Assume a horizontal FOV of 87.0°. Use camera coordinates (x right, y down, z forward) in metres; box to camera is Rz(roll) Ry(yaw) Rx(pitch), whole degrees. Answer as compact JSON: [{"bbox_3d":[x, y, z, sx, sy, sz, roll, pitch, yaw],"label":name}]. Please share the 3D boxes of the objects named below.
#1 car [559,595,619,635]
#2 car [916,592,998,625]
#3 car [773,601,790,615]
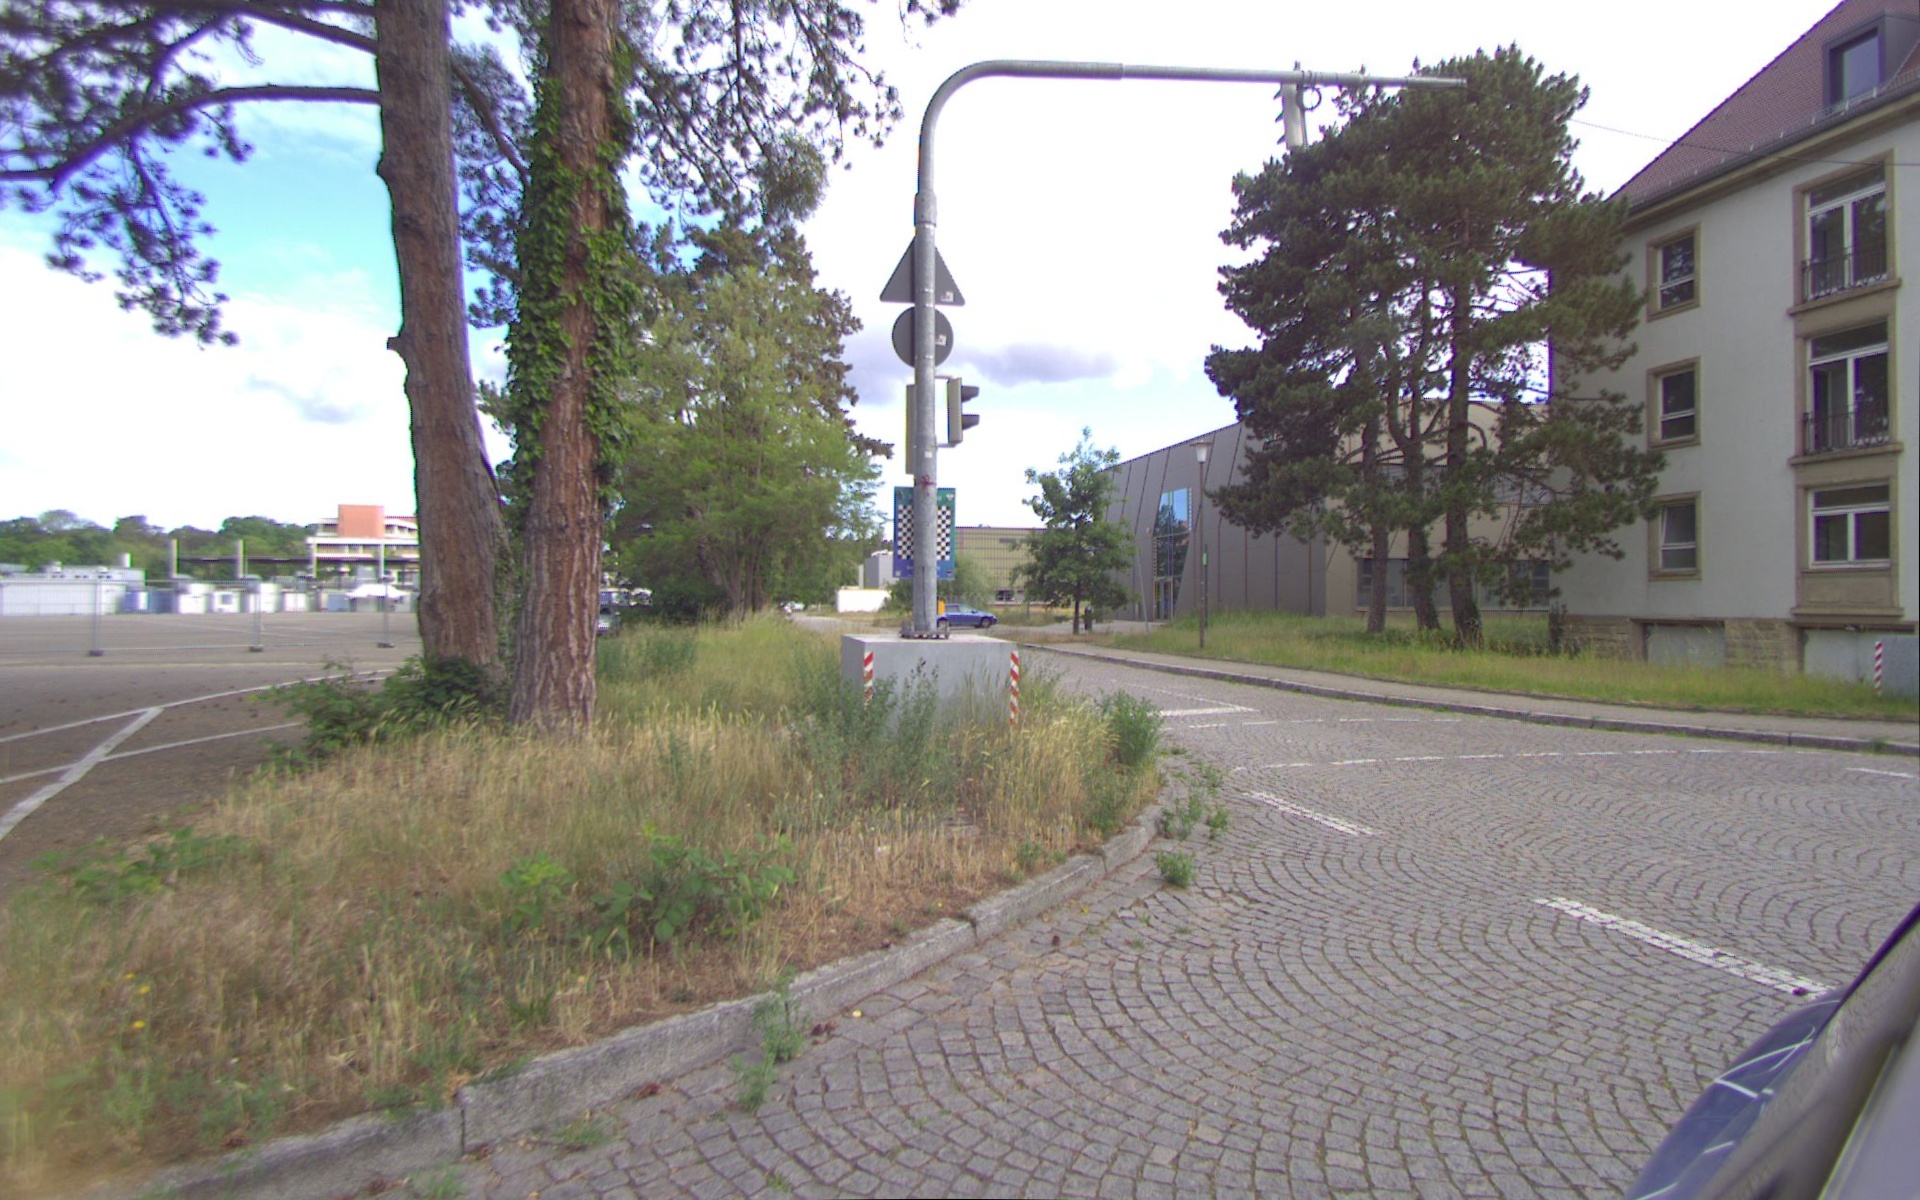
[{"bbox_3d":[-14.592,0.565,39.941,1.931,1.501,4.008,0,0,-16],"label":"car"},{"bbox_3d":[-0.192,0.471,58.333,4.382,1.854,2.004,0,0,-14],"label":"car"},{"bbox_3d":[-20.685,0.945,117.191,1.847,1.544,4.007,0,0,-12],"label":"car"}]
